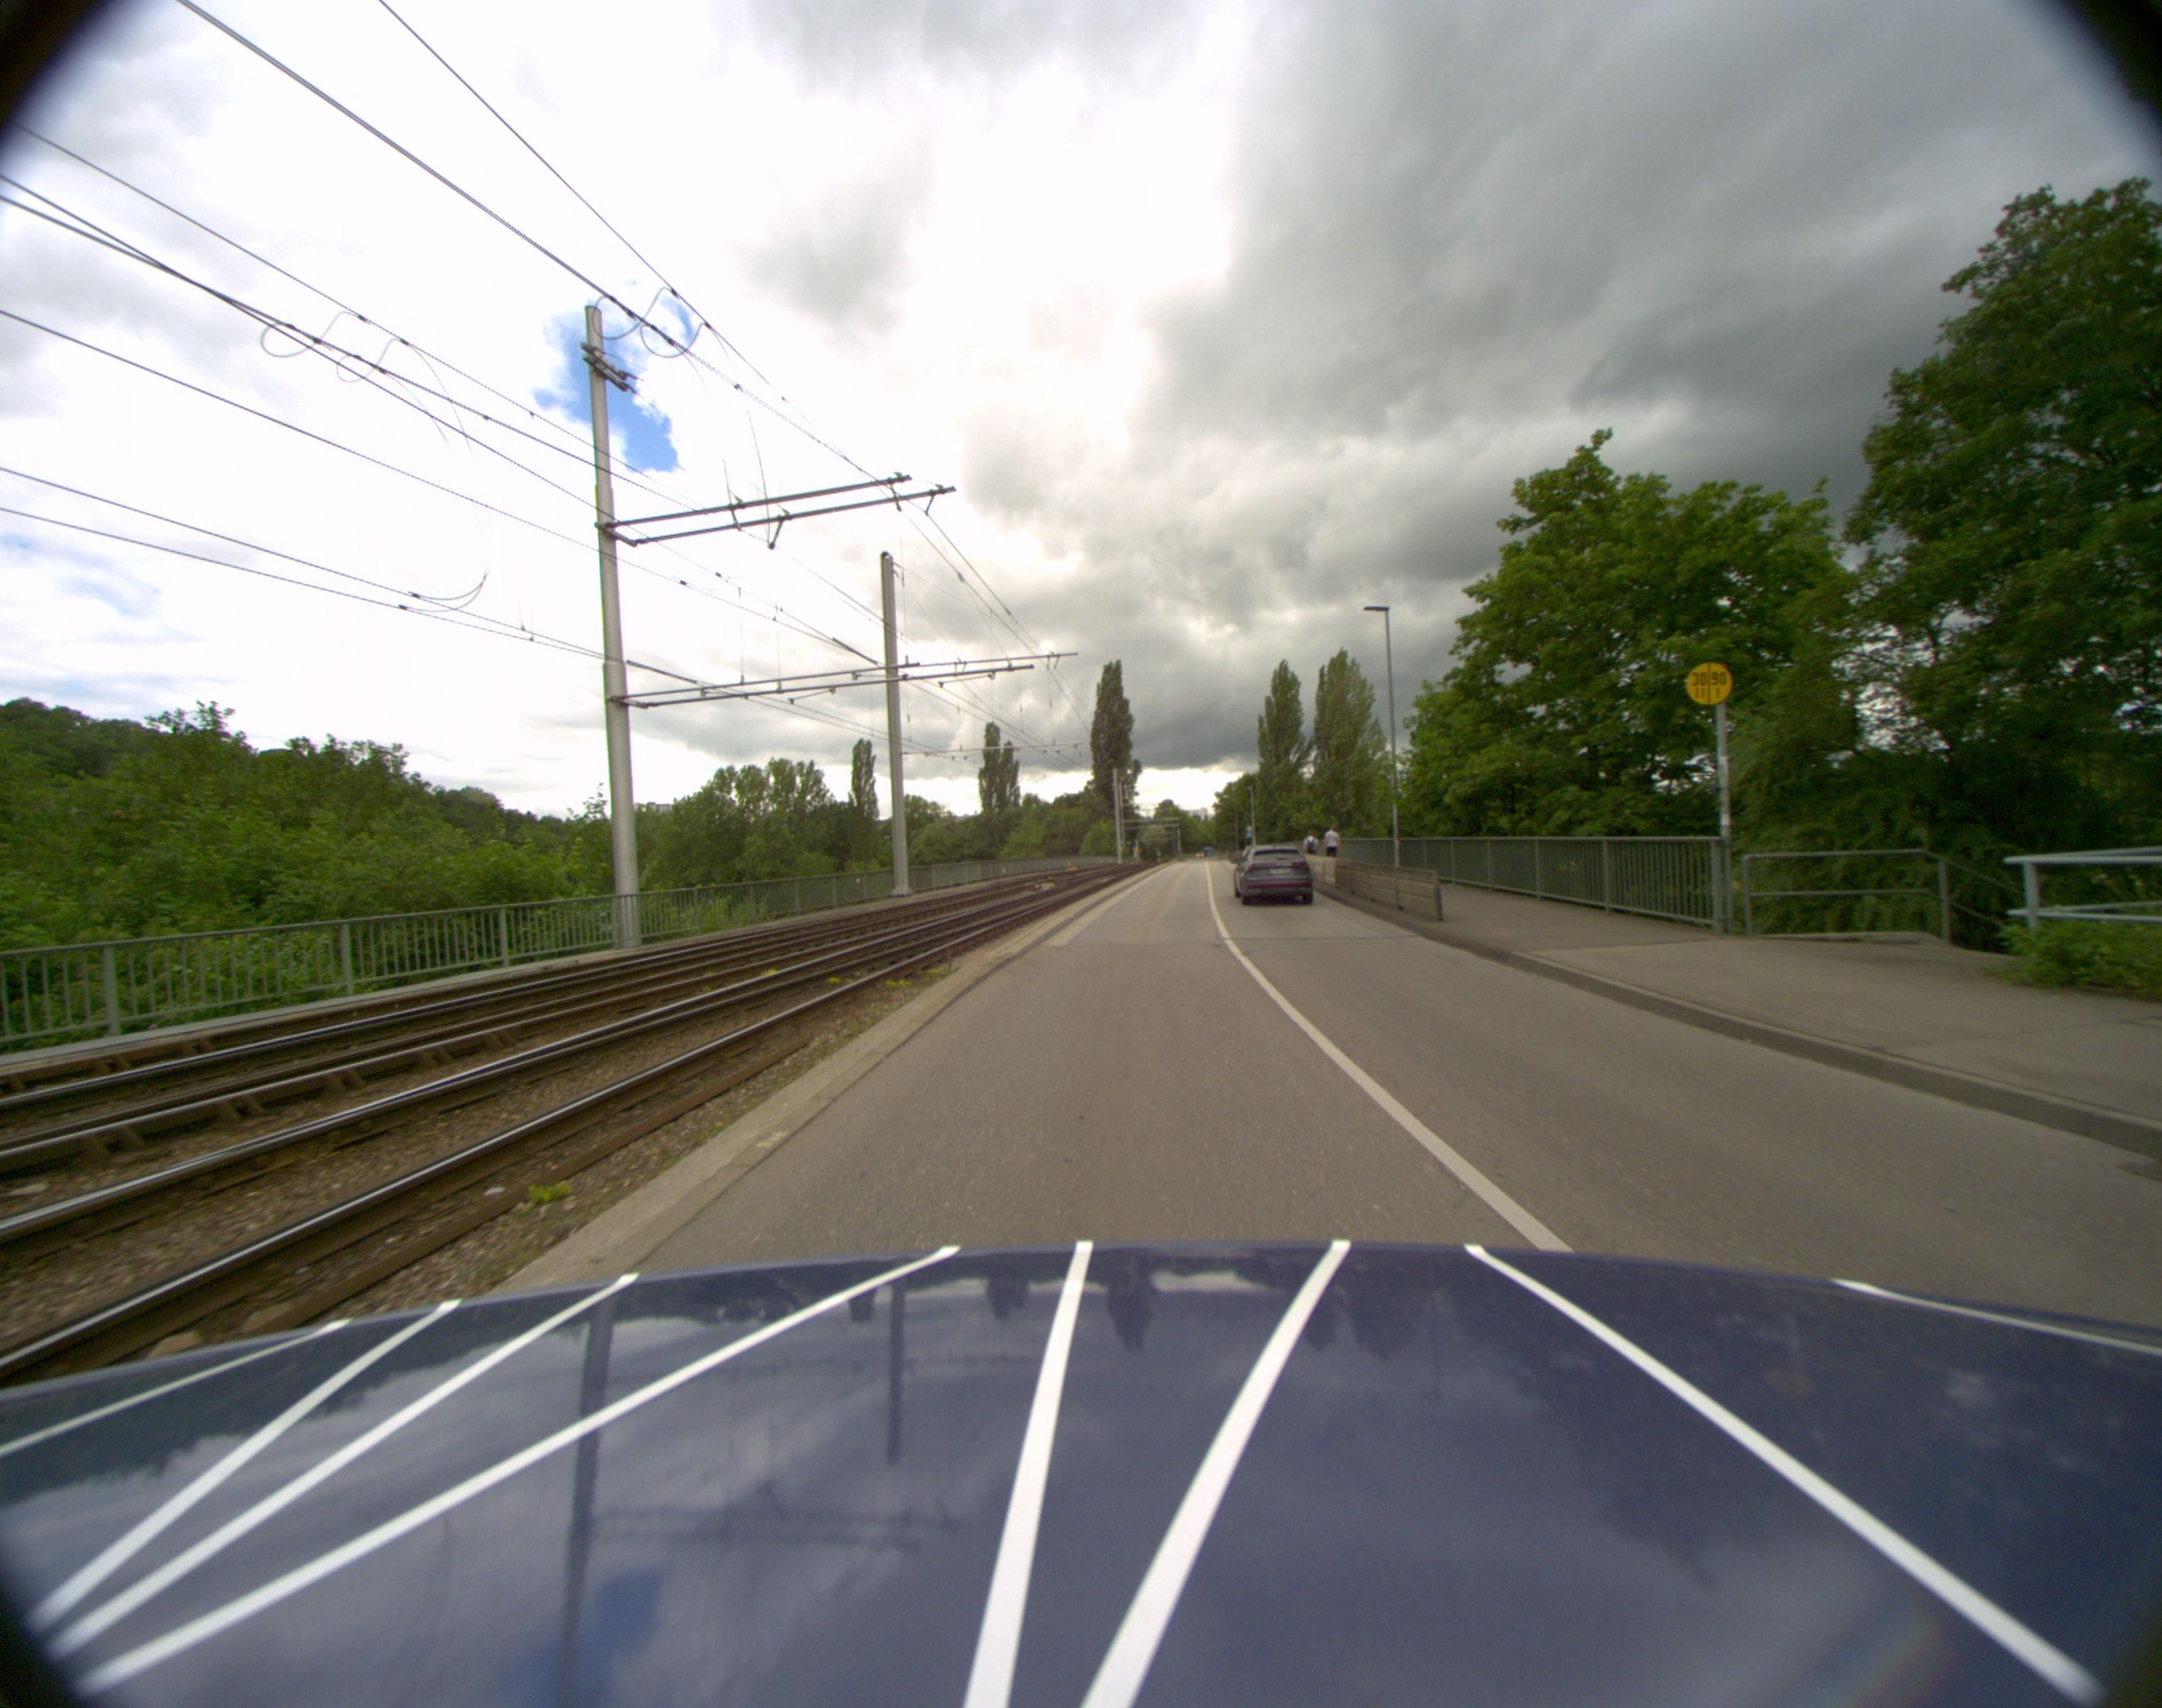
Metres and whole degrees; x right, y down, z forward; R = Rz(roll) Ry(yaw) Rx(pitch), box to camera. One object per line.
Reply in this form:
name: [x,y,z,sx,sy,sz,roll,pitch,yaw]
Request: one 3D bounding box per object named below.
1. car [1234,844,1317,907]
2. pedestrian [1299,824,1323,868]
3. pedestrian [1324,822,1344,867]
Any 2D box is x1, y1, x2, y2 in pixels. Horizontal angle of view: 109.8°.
car: [4.984,0.484,19.931,1.719,1.459,3.943,-1,1,9]
pedestrian: [9.690,-0.337,32.007,0.781,1.817,0.726,-4,1,11]
pedestrian: [10.514,-0.378,31.590,0.606,1.817,0.556,-4,1,11]
